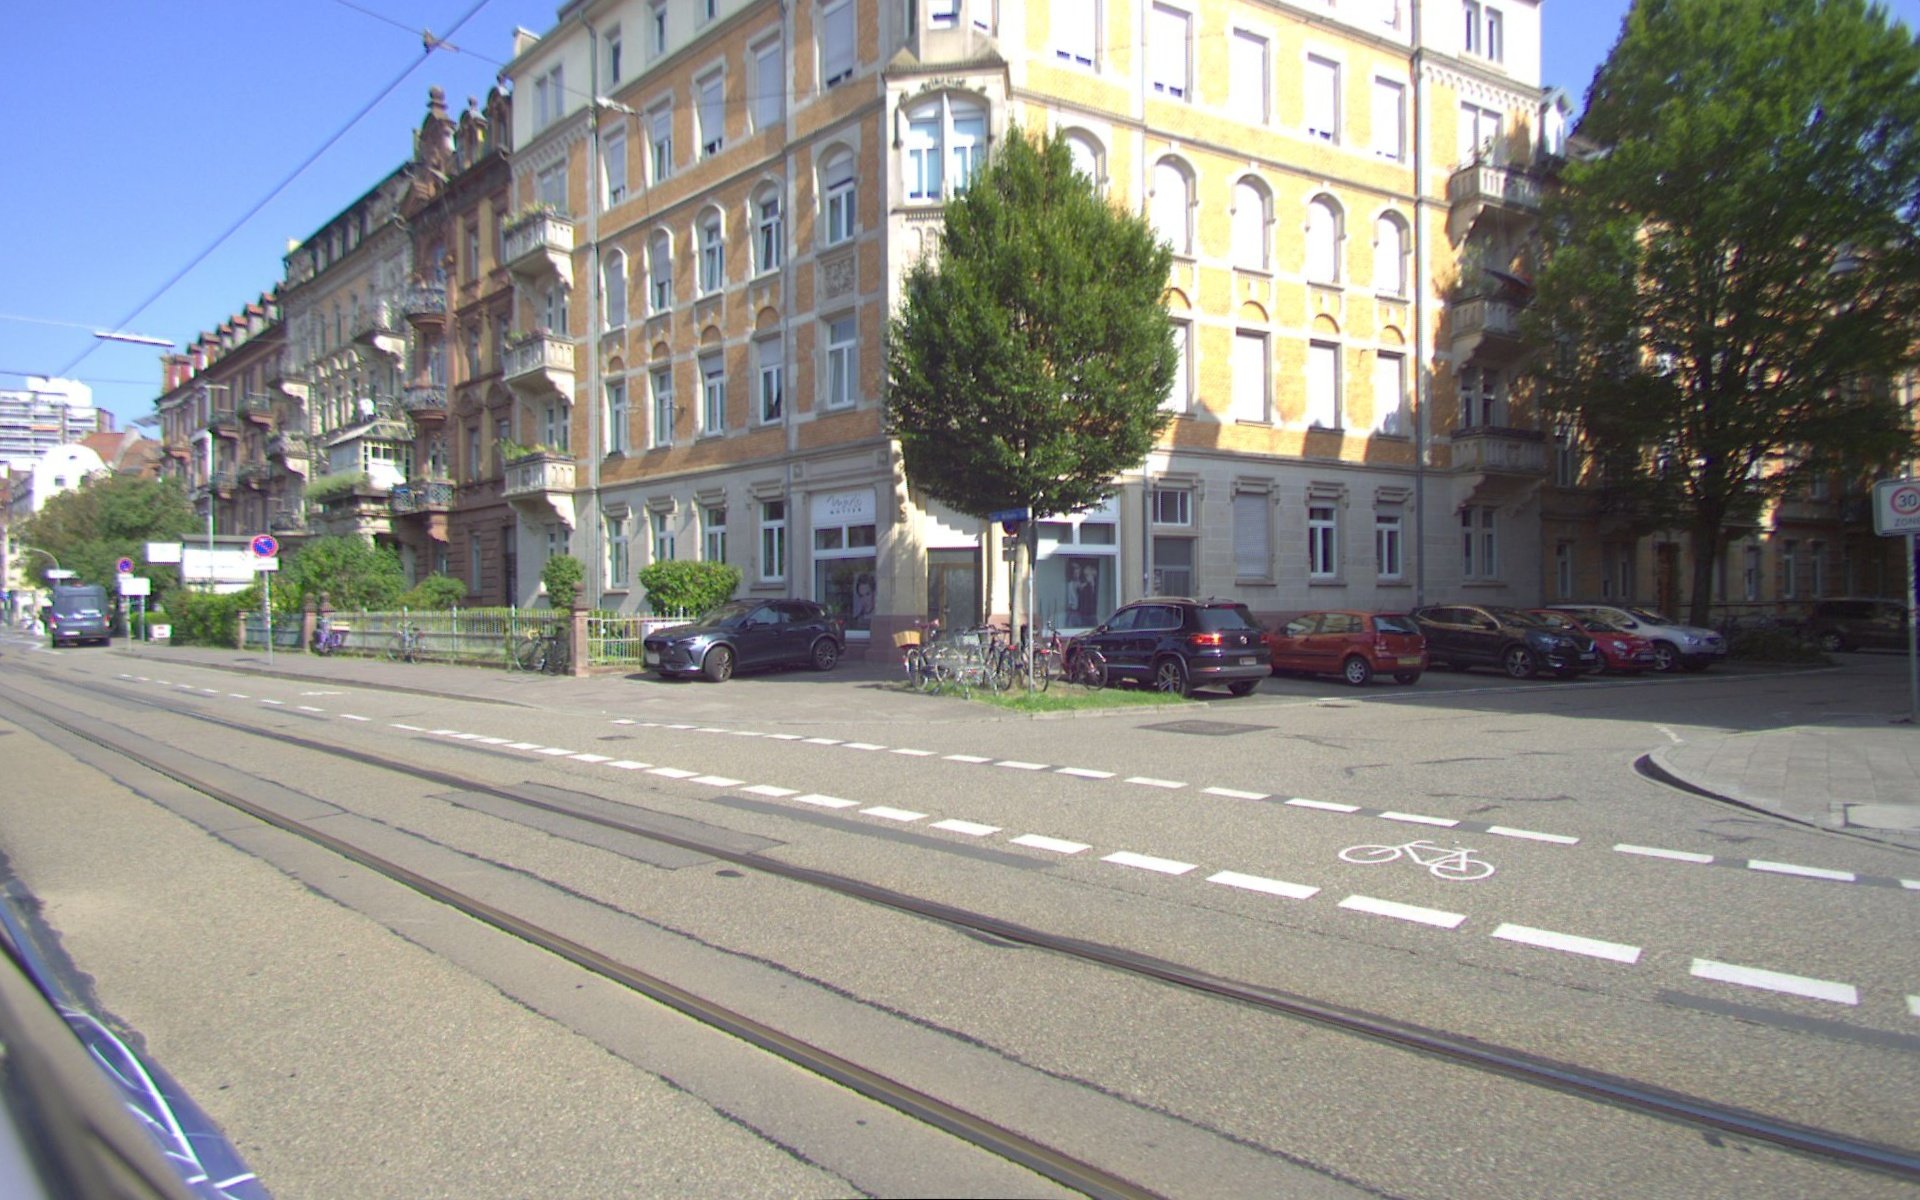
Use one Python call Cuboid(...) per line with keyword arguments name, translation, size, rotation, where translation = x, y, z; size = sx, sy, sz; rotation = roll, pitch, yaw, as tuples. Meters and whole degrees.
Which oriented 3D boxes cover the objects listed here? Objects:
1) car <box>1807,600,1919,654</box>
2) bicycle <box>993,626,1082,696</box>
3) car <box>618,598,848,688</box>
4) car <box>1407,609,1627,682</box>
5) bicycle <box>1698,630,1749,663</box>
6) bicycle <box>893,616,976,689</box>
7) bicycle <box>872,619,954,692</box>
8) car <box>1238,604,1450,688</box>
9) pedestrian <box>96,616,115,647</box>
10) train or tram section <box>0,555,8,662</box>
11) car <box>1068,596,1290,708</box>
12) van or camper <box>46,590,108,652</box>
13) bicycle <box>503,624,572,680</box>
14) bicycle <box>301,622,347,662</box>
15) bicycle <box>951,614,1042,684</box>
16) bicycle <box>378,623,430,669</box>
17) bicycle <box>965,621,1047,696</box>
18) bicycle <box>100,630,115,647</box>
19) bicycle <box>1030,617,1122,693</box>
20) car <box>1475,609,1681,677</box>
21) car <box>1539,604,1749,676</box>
Cuboid(name="car", translation=(29.585, 0.830, 31.567), size=(1.738, 1.569, 4.551), rotation=(0, 1, -33))
Cuboid(name="bicycle", translation=(1.279, 0.995, 17.031), size=(0.534, 1.098, 1.842), rotation=(0, -1, -30))
Cuboid(name="car", translation=(-4.453, 0.769, 20.302), size=(2.063, 1.554, 4.095), rotation=(0, 1, 40))
Cuboid(name="car", translation=(12.187, 0.928, 22.415), size=(1.737, 1.466, 3.958), rotation=(0, 0, -28))
Cuboid(name="bicycle", translation=(25.881, 1.557, 34.301), size=(1.977, 1.076, 0.595), rotation=(0, -1, -28))
Cuboid(name="bicycle", translation=(-0.416, 0.877, 17.552), size=(0.541, 1.190, 1.843), rotation=(-1, -1, 30))
Cuboid(name="bicycle", translation=(-0.801, 0.946, 17.779), size=(0.541, 1.206, 1.834), rotation=(-1, -1, 30))
Cuboid(name="car", translation=(7.734, 0.883, 20.698), size=(1.738, 1.538, 3.779), rotation=(0, -1, -31))
Cuboid(name="pedestrian", translation=(-48.487, 1.788, 57.415), size=(0.631, 1.691, 0.632), rotation=(-2, -1, 29))
Cuboid(name="train or tram section", translation=(-36.502, 0.400, 36.015), size=(10.769, 3.532, 2.706), rotation=(-1, 0, 41))
Cuboid(name="car", translation=(3.701, 0.806, 17.714), size=(1.738, 1.673, 3.780), rotation=(-2, 1, -28))
Cuboid(name="van or camper", translation=(-40.366, 0.932, 46.242), size=(2.025, 2.664, 6.097), rotation=(1, -1, -42))
Cuboid(name="bicycle", translation=(-8.682, 1.046, 20.757), size=(1.839, 1.066, 0.539), rotation=(-1, 3, 43))
Cuboid(name="bicycle", translation=(-18.418, 1.206, 29.301), size=(1.839, 1.066, 0.600), rotation=(-1, 3, 43))
Cuboid(name="bicycle", translation=(0.695, 0.891, 19.026), size=(1.744, 1.266, 0.544), rotation=(1, -1, -35))
Cuboid(name="bicycle", translation=(-13.957, 1.144, 25.391), size=(1.839, 1.066, 0.539), rotation=(-1, 3, 43))
Cuboid(name="bicycle", translation=(0.738, 0.927, 16.710), size=(0.475, 1.168, 1.778), rotation=(0, -1, -29))
Cuboid(name="bicycle", translation=(-48.784, 2.182, 57.898), size=(1.703, 0.934, 0.520), rotation=(-2, -1, 44))
Cuboid(name="bicycle", translation=(1.979, 0.921, 17.553), size=(0.534, 1.239, 1.777), rotation=(1, -1, -35))
Cuboid(name="car", translation=(14.549, 0.961, 24.008), size=(1.738, 1.466, 3.779), rotation=(0, -1, -31))
Cuboid(name="car", translation=(16.746, 0.929, 24.981), size=(1.737, 1.618, 3.903), rotation=(0, -1, -29))
